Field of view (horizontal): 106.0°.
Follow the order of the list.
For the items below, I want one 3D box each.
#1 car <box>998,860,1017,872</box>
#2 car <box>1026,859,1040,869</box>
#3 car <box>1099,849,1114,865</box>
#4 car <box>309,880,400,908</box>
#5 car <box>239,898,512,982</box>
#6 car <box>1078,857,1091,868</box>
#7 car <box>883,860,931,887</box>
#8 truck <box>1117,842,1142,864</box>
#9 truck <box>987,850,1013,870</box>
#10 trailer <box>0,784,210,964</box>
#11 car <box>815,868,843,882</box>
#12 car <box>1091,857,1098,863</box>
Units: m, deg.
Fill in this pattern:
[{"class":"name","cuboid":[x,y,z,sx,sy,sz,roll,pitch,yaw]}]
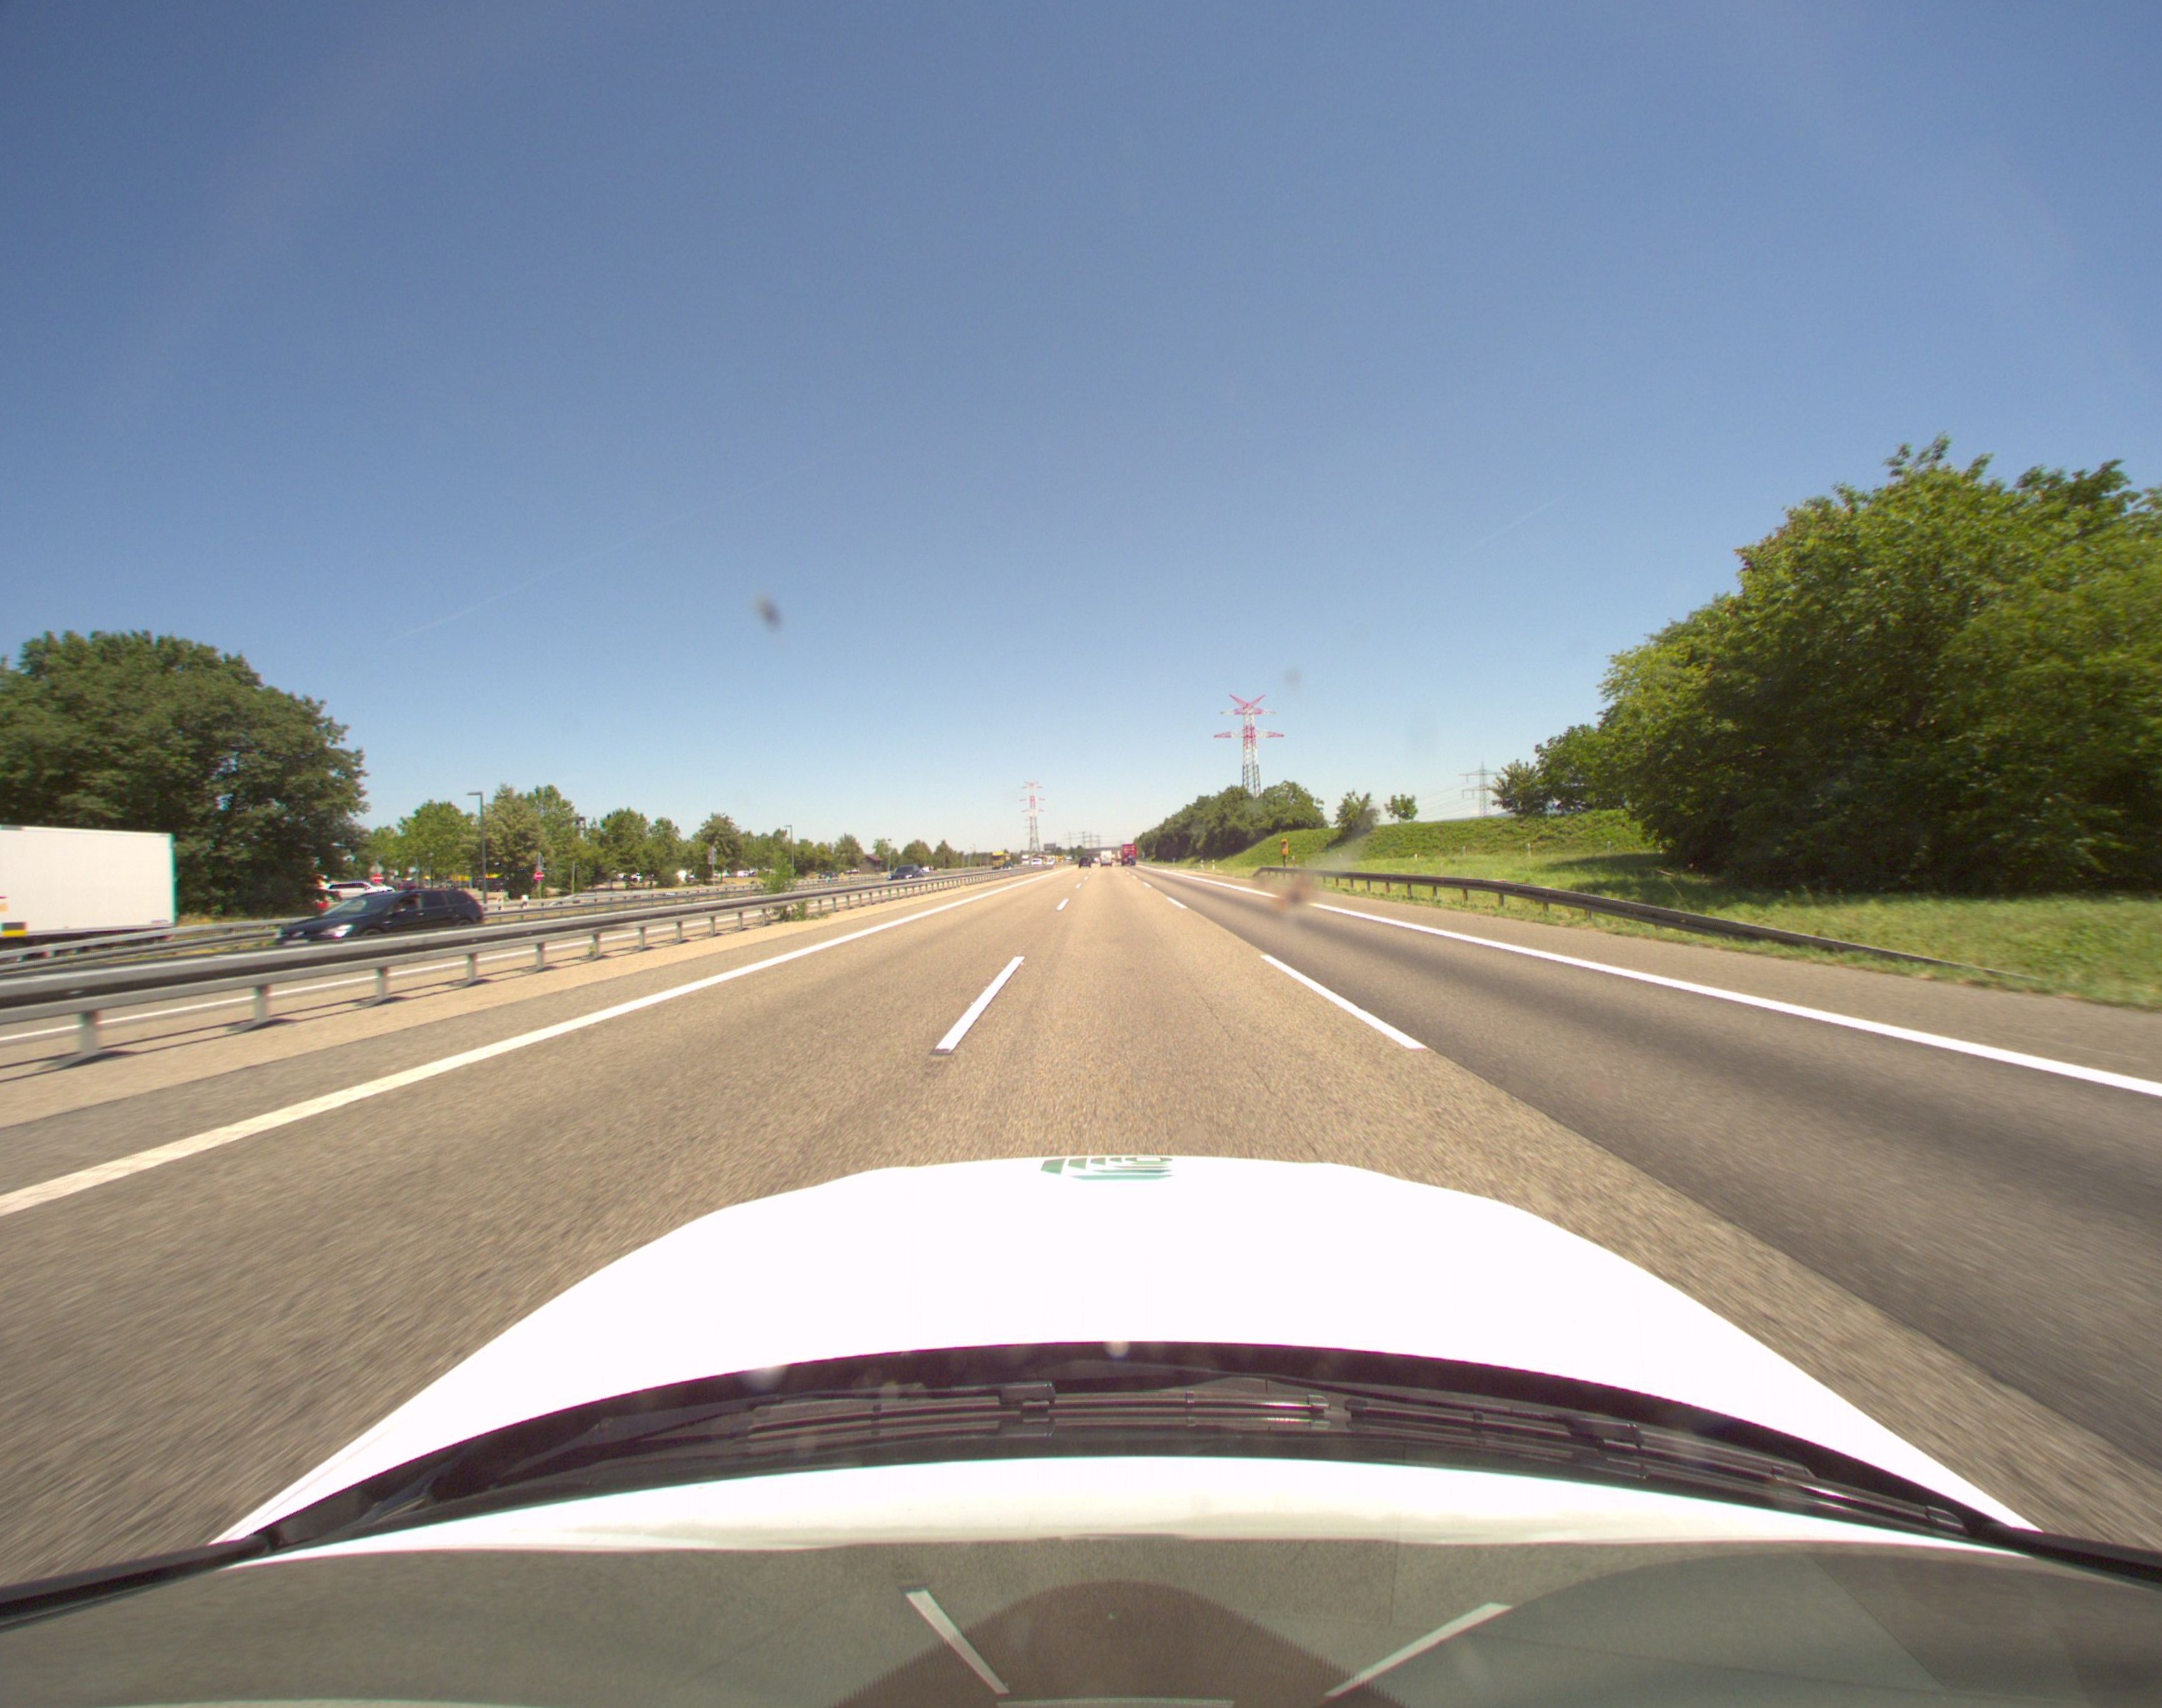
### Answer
[{"class":"car","cuboid":[-10.302,1.647,114.835,2.045,1.551,4.891,-4,0,1]},{"class":"car","cuboid":[-9.124,1.829,154.255,2.045,1.842,5.944,-2,0,1]},{"class":"car","cuboid":[4.552,0.492,143.794,2.611,2.759,6.098,-1,0,1]},{"class":"car","cuboid":[-70.335,3.818,78.931,6.181,2.499,2.471,-1,0,-8]},{"class":"car","cuboid":[-16.732,1.969,19.789,2.220,1.380,4.891,-4,0,1]},{"class":"car","cuboid":[0.555,1.323,130.654,1.986,1.750,4.001,-1,0,1]},{"class":"car","cuboid":[-11.848,1.297,55.889,2.045,1.551,4.891,-4,0,1]},{"class":"truck","cuboid":[9.192,-0.246,157.203,4.315,3.941,16.084,-1,0,2]},{"class":"truck","cuboid":[-16.247,1.233,164.134,3.159,3.810,13.536,-2,0,2]},{"class":"trailer","cuboid":[-30.412,0.644,20.363,3.066,4.827,13.742,-5,0,-5]},{"class":"car","cuboid":[-33.113,2.736,107.128,2.045,1.551,4.891,-4,0,1]},{"class":"car","cuboid":[3.802,1.537,227.739,1.741,1.634,4.005,-1,0,1]}]
